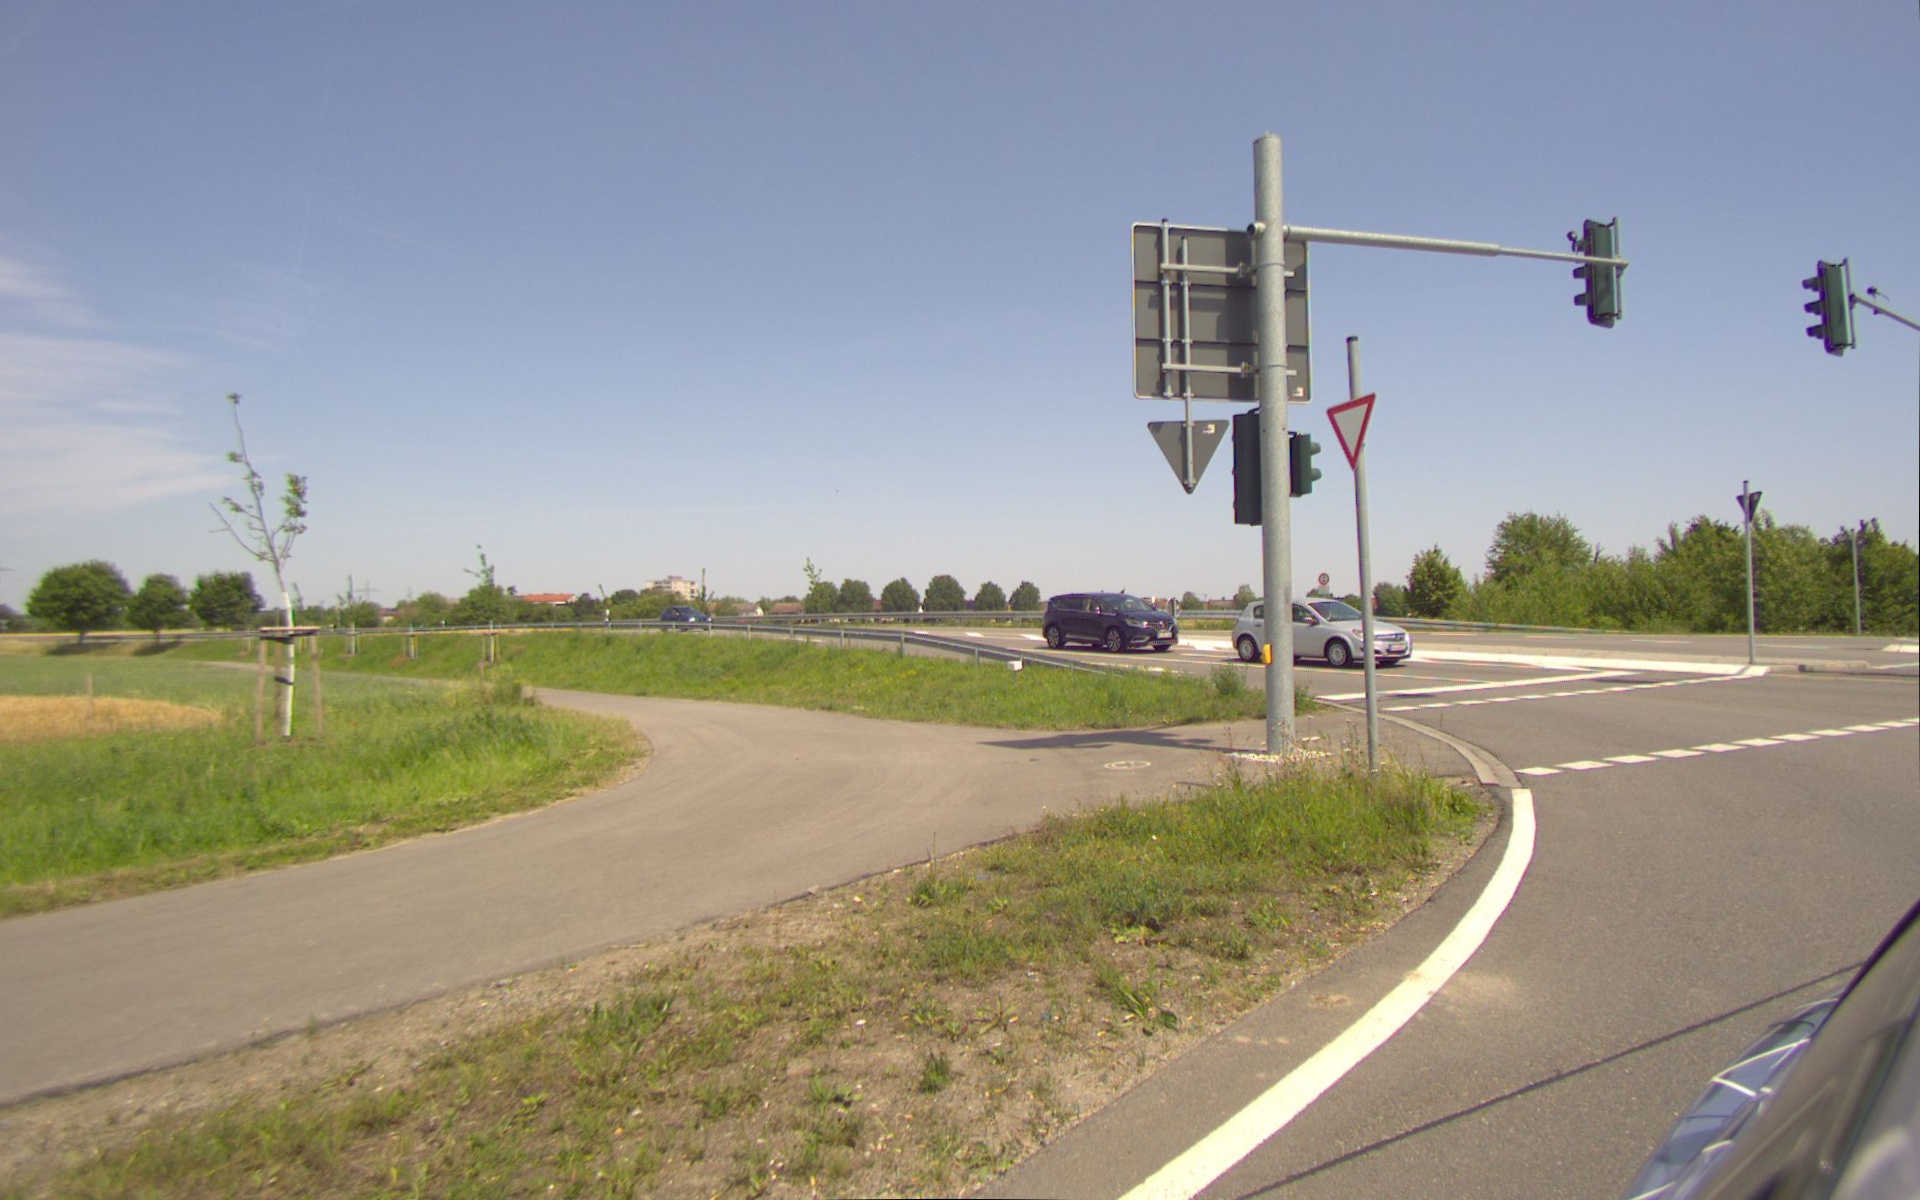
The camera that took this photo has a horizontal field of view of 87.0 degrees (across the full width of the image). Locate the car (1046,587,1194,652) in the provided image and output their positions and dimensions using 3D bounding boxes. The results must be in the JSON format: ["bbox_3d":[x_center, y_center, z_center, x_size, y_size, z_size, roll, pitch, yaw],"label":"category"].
[{"bbox_3d":[4.423,0.508,28.785,1.777,1.661,4.532,-1,1,-28],"label":"car"}]

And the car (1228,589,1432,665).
[{"bbox_3d":[7.930,0.558,22.109,1.627,1.478,4.157,-1,0,-28],"label":"car"}]

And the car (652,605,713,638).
[{"bbox_3d":[-15.903,1.243,57.899,1.886,1.831,3.914,0,-1,-40],"label":"car"}]

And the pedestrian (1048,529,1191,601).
[{"bbox_3d":[4.809,-1.026,30.412,3.923,2.039,2.001,-1,1,-33],"label":"pedestrian"}]
